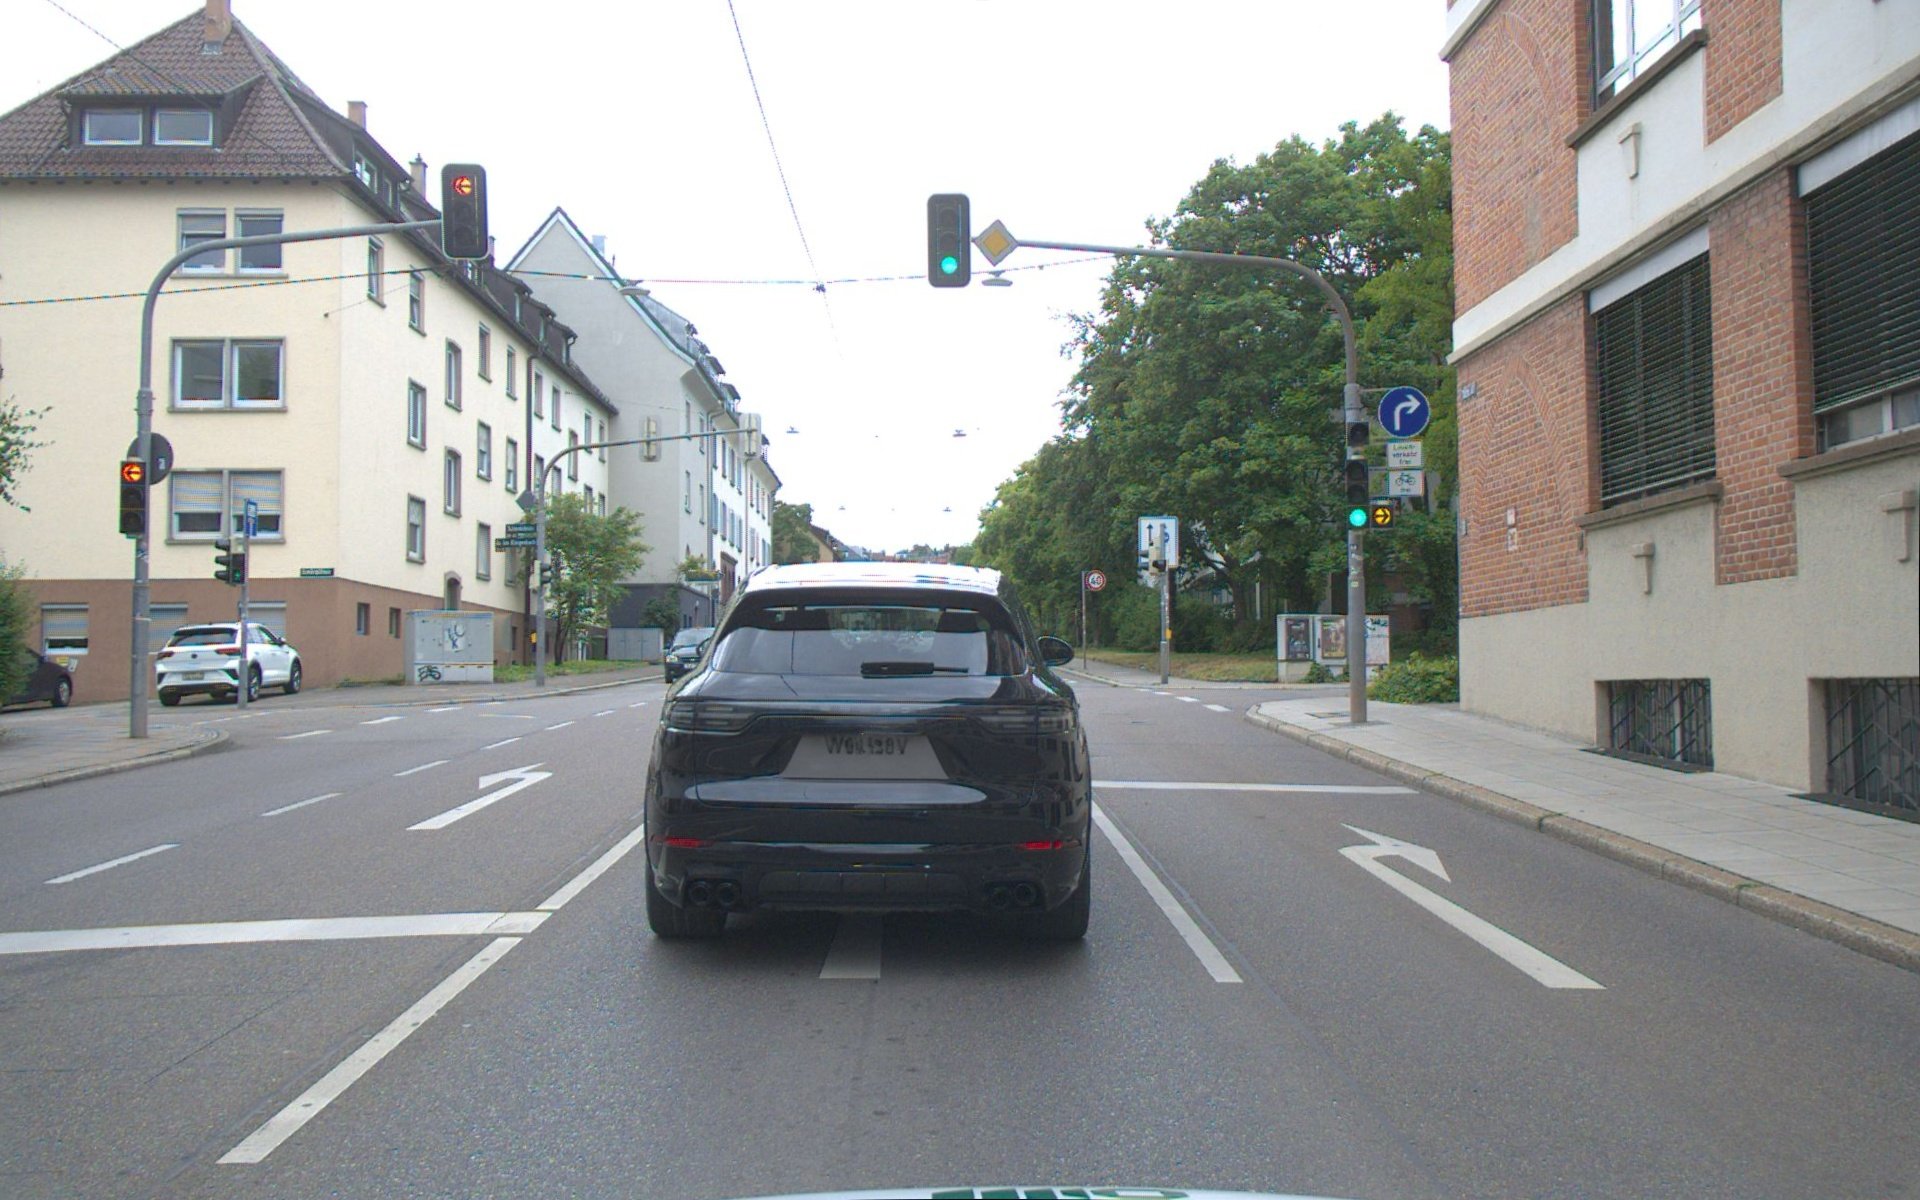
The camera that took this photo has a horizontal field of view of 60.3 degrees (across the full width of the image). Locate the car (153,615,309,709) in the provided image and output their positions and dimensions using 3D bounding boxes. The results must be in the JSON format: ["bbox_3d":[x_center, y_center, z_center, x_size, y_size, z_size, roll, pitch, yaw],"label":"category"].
[{"bbox_3d":[-14.772,1.212,33.743,1.637,1.691,3.995,-3,0,-5],"label":"car"}]

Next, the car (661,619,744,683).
[{"bbox_3d":[-7.026,1.366,45.427,1.630,1.545,3.739,-4,0,0],"label":"car"}]

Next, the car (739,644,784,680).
[{"bbox_3d":[-8.305,2.574,69.402,1.637,1.386,3.997,0,0,-4],"label":"car"}]

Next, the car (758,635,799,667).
[{"bbox_3d":[-8.390,2.346,76.817,1.636,1.386,3.998,0,0,-3],"label":"car"}]

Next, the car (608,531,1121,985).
[{"bbox_3d":[-0.392,0.621,8.397,1.953,1.726,3.999,1,0,-1],"label":"car"}]

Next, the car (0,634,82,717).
[{"bbox_3d":[-19.669,1.554,33.420,1.636,1.573,4.100,-3,0,-1],"label":"car"}]
